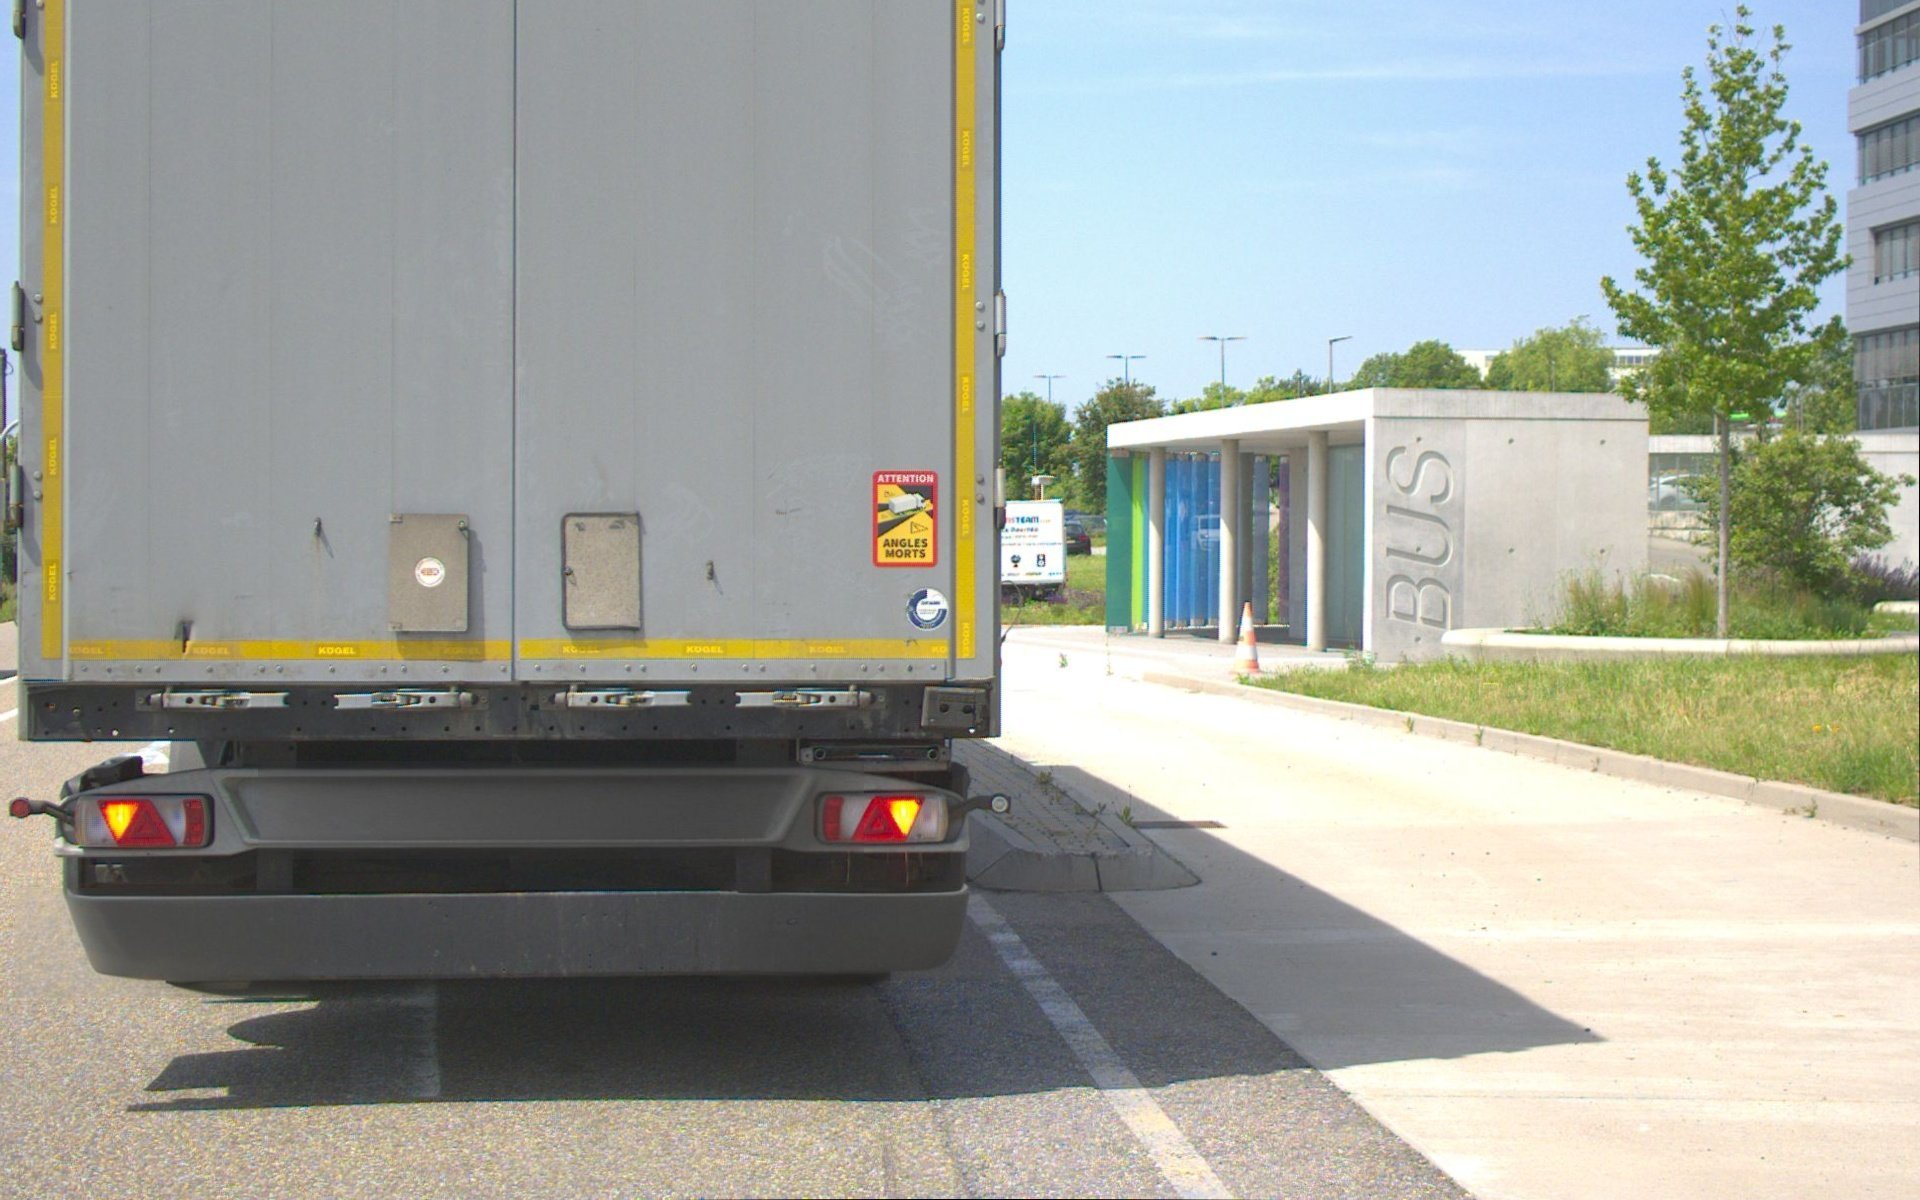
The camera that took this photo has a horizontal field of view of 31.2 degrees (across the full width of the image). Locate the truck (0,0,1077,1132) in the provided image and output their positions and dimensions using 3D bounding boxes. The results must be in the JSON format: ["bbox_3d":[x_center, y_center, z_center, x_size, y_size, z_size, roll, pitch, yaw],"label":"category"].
[{"bbox_3d":[-1.535,-0.955,13.060,2.906,4.395,8.862,0,1,-5],"label":"truck"}]

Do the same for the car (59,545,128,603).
[{"bbox_3d":[-27.845,-0.848,110.539,1.993,1.781,4.001,-2,1,-13],"label":"car"}]
